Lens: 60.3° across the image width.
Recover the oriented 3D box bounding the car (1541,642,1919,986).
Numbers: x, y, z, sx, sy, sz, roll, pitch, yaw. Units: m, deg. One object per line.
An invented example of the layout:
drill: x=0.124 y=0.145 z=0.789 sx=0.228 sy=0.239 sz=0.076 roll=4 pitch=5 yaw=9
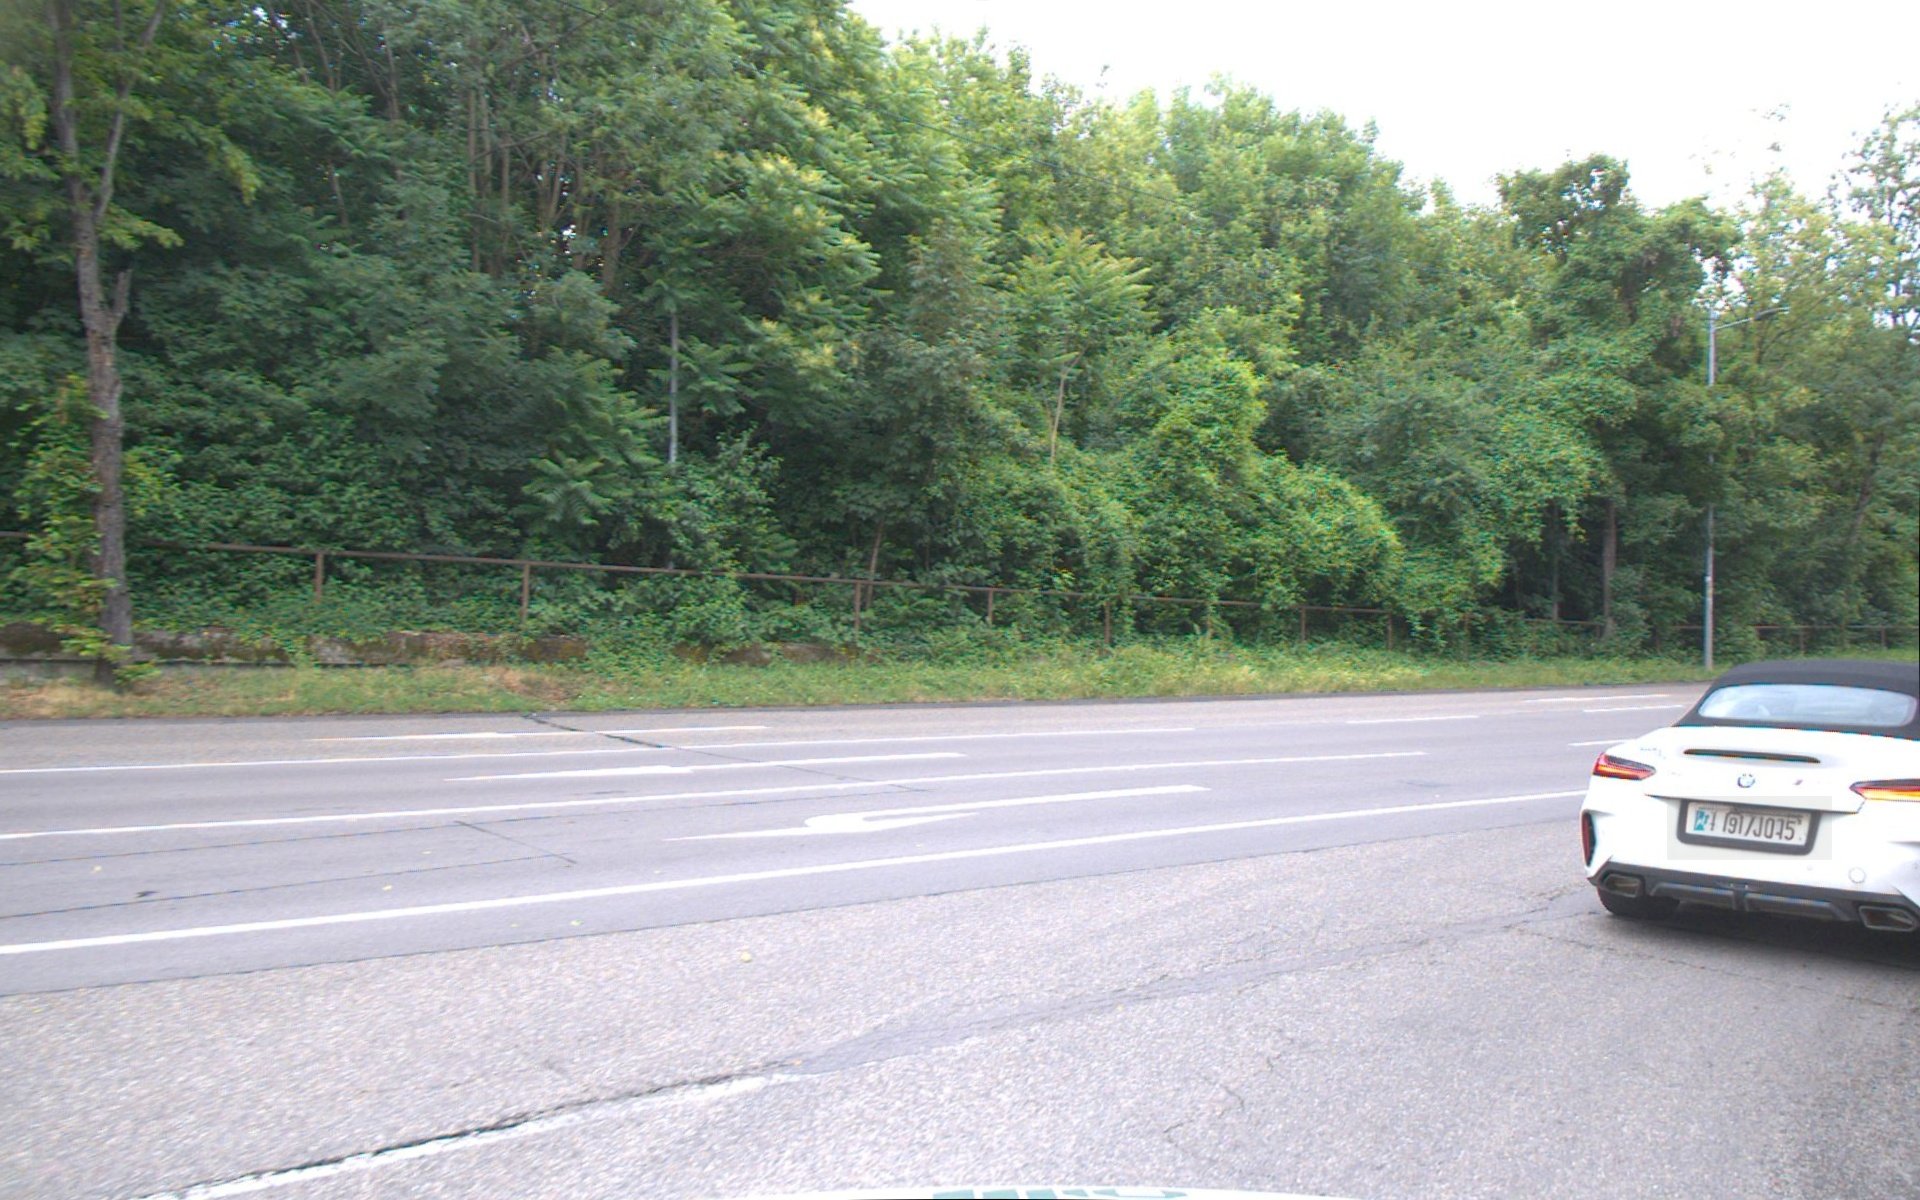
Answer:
car: x=4.752 y=0.926 z=8.549 sx=1.849 sy=1.332 sz=3.845 roll=1 pitch=0 yaw=44
